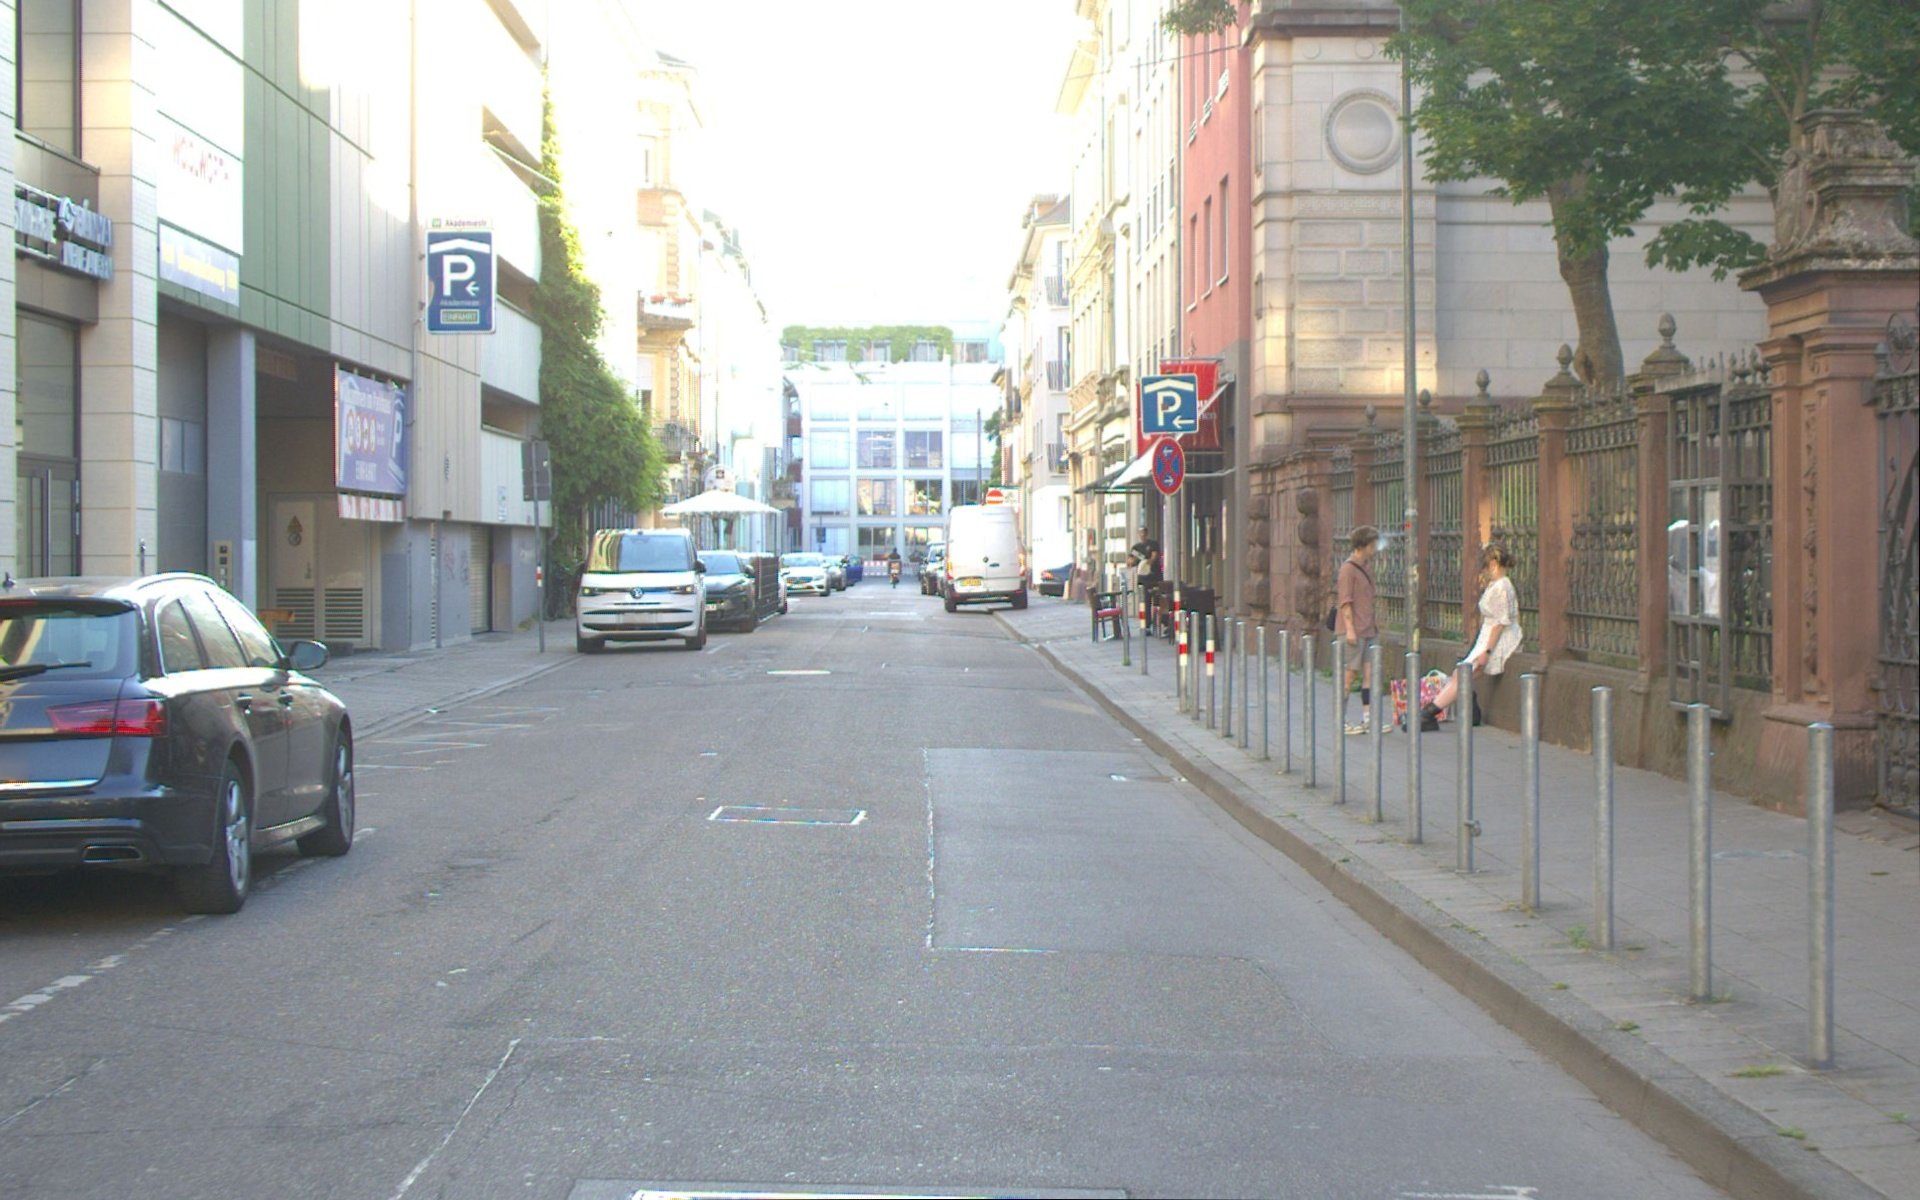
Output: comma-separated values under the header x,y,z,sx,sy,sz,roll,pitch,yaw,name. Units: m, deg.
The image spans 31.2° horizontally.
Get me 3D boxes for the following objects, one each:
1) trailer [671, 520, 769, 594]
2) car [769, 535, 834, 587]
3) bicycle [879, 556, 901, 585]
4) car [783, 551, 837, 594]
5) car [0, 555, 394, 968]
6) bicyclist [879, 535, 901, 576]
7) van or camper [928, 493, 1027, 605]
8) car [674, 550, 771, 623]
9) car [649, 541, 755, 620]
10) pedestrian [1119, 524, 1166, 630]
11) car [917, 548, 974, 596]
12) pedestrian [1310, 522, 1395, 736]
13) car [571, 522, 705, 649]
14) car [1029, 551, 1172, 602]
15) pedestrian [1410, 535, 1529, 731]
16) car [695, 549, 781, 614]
x,y,z,sx,sy,sz,roll,pitch,yaw,name
-5.179,-0.913,74.580,1.993,1.552,4.000,0,0,-2,trailer
-5.210,-1.269,113.496,1.993,1.678,4.000,0,0,-1,car
-3.166,-1.337,155.553,0.975,1.276,2.754,0,0,-1,bicycle
-5.917,-1.089,136.124,1.993,1.678,4.000,0,0,-1,car
-3.963,0.600,15.773,1.883,1.592,4.689,0,1,1,car
-3.167,-2.020,155.418,0.990,1.862,0.708,0,0,-1,bicyclist
0.408,-1.268,87.488,2.258,2.598,5.112,-4,0,-1,van or camper
-4.837,-0.301,70.539,1.883,1.448,4.001,0,1,-2,car
-4.870,-0.396,65.358,1.883,1.448,4.001,0,1,-2,car
2.885,-0.366,54.359,0.662,1.660,0.624,-2,1,-1,pedestrian
-0.539,-1.010,123.989,1.993,1.678,4.000,0,0,-1,car
3.088,0.220,27.053,0.484,1.652,0.619,-2,1,-8,pedestrian
-5.026,-0.249,54.132,1.883,1.905,4.749,0,1,-3,car
3.996,-0.663,98.201,3.987,1.415,1.656,0,0,-1,car
3.982,0.246,26.897,0.749,1.494,0.619,-2,1,-6,pedestrian
-5.081,-0.435,79.121,1.883,1.448,4.001,0,1,-2,car
